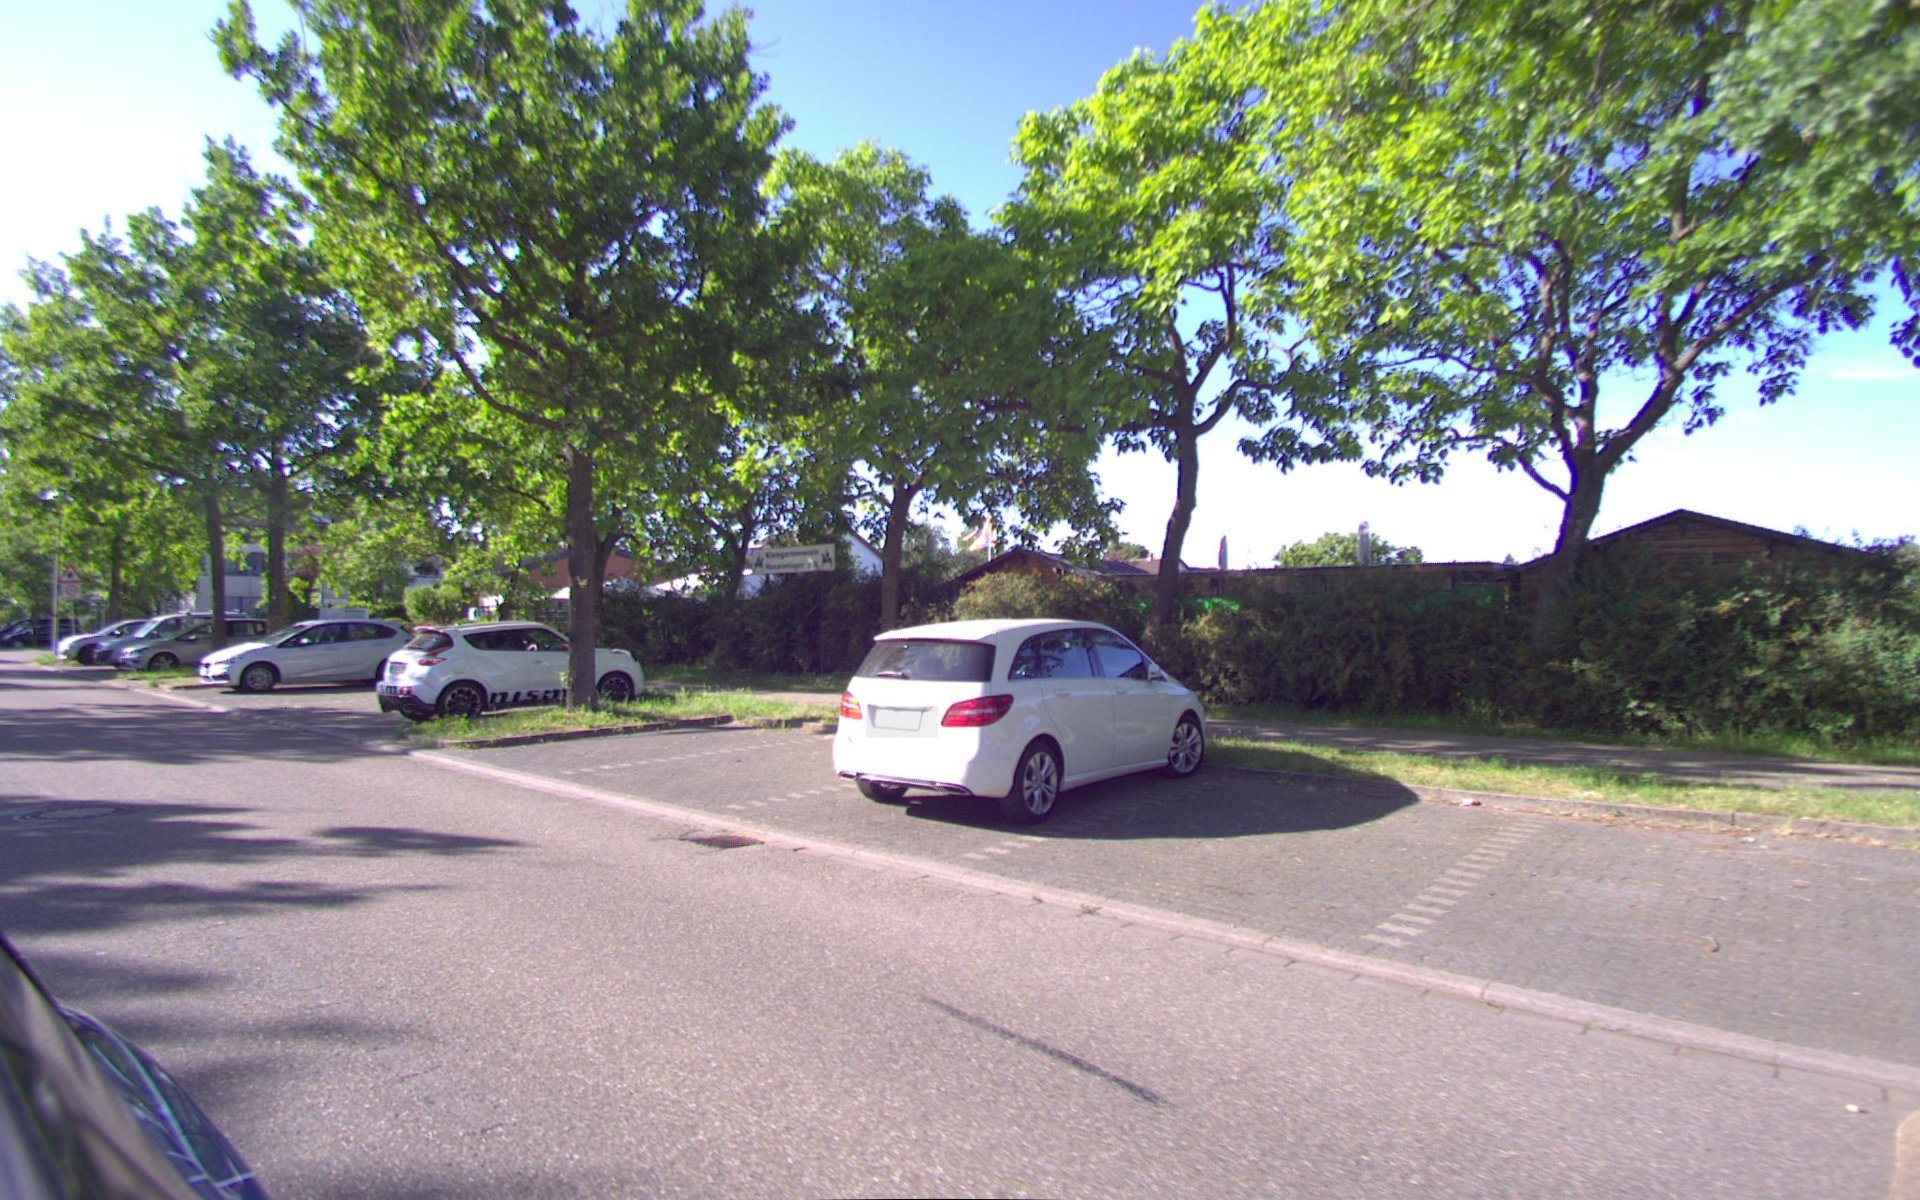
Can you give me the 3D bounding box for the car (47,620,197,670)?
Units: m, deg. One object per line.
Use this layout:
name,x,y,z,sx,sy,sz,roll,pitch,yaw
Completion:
car,-30.466,1.594,36.855,1.876,1.655,4.018,-2,-1,43

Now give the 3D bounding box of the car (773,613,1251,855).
car,0.746,0.946,9.289,2.188,1.570,4.583,-2,-1,37

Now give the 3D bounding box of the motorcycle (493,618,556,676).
motorcycle,-11.537,1.219,26.781,1.990,1.443,0.729,-1,1,42

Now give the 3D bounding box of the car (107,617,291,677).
car,-22.481,1.335,30.002,1.865,1.568,4.091,-2,-1,43

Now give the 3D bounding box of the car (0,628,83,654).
car,-54.898,2.432,60.230,3.977,1.490,1.943,2,-3,-43

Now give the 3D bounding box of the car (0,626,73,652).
car,-64.878,2.754,70.972,3.977,1.791,1.943,2,-3,-43

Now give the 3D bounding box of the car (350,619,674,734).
car,-7.151,1.127,16.504,2.087,1.522,4.367,-2,-1,40

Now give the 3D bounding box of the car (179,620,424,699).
car,-15.027,1.281,23.265,2.088,1.568,4.364,-2,-1,43

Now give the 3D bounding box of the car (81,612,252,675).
car,-26.215,1.392,33.540,1.998,1.898,4.184,-2,-1,41
